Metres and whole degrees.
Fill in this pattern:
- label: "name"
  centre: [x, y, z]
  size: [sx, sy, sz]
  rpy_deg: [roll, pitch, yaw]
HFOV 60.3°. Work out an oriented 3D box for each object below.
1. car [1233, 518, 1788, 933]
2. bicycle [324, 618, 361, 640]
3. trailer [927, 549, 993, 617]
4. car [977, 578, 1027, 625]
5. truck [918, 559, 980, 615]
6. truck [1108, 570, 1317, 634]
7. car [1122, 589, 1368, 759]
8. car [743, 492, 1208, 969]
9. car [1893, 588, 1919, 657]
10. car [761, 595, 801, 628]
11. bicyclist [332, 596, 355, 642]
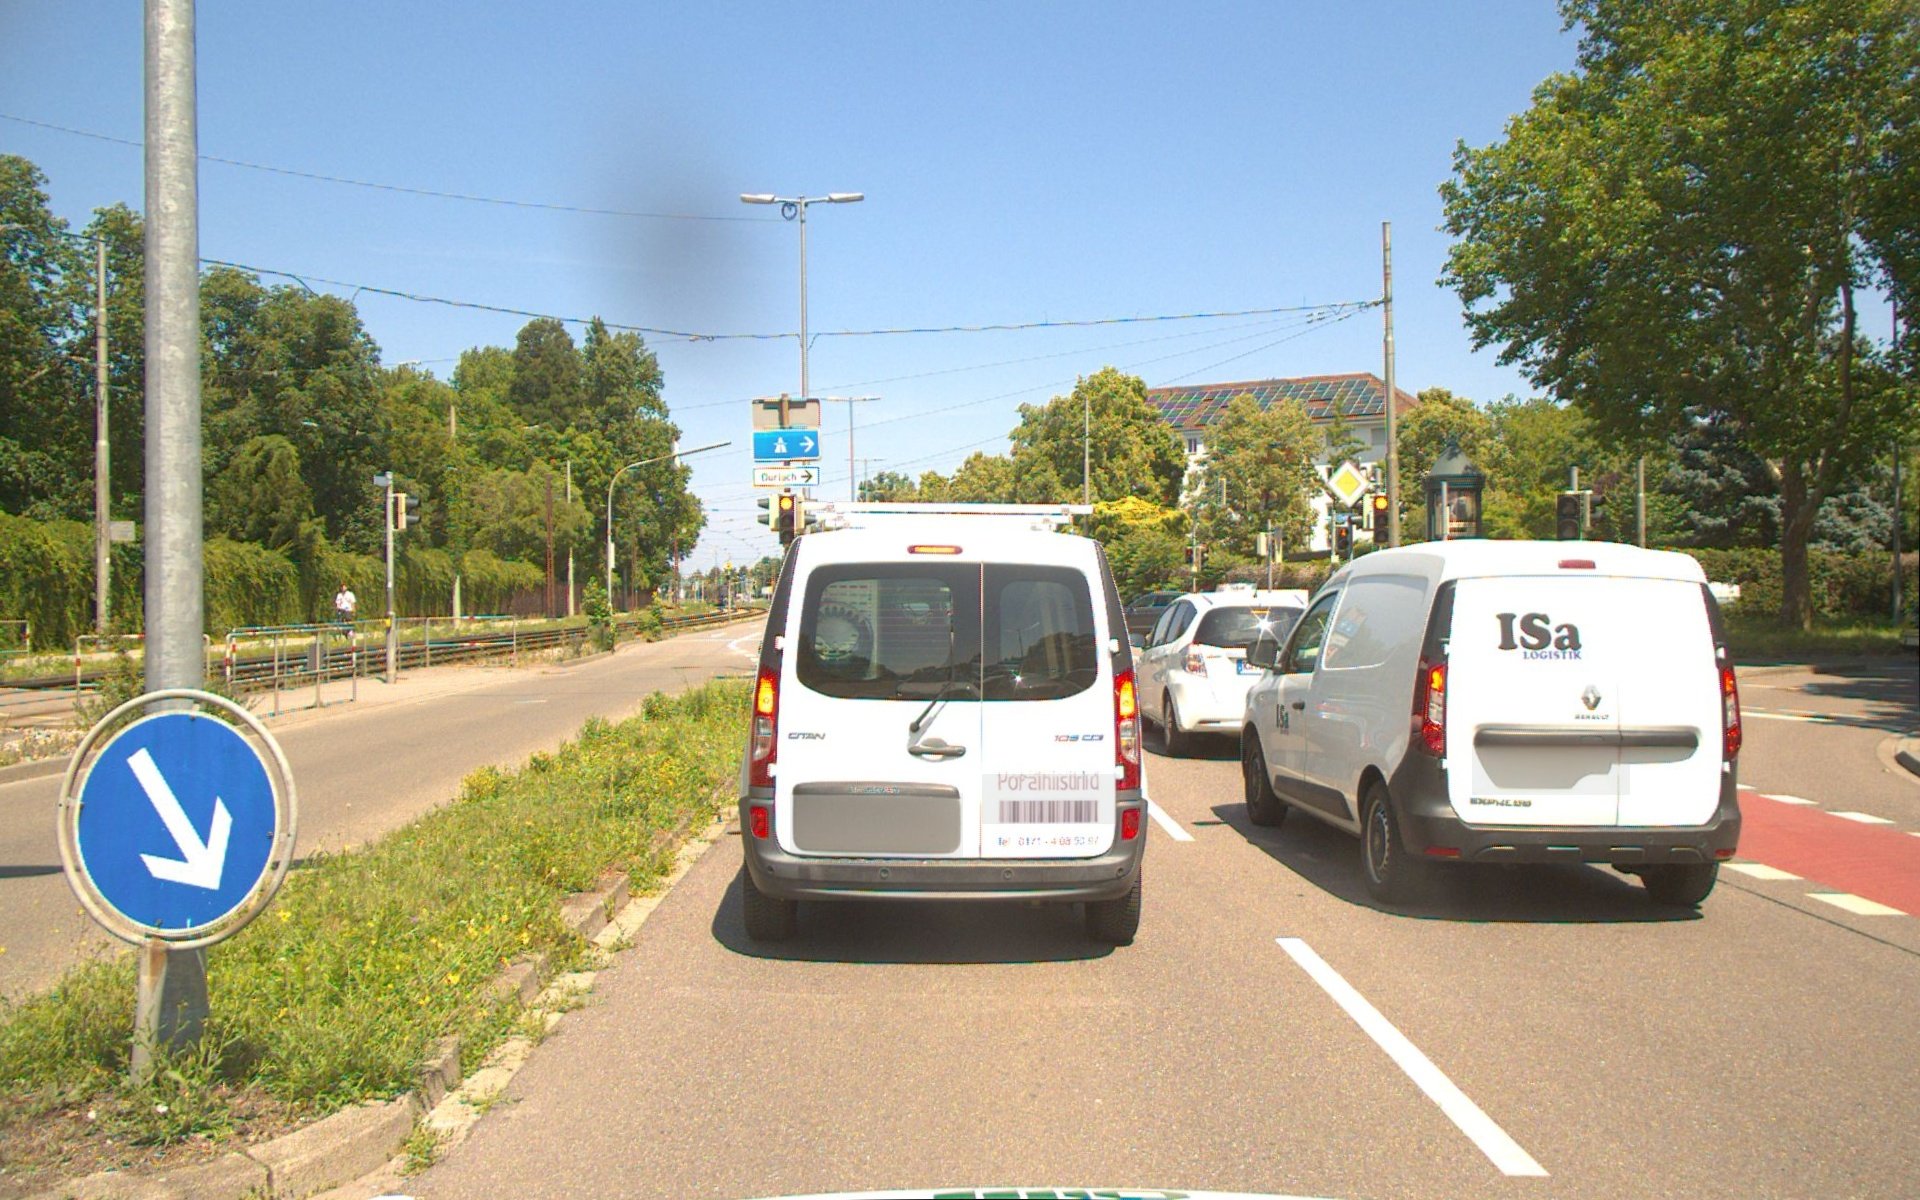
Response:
- label: "car"
  centre: [2.830, 0.552, 9.482]
  size: [1.676, 1.862, 4.011]
  rpy_deg: [0, 0, -3]
- label: "bicycle"
  centre: [-20.207, 0.942, 54.162]
  size: [0.549, 0.659, 1.720]
  rpy_deg: [0, 0, 0]
- label: "trailer"
  centre: [-0.078, -1.043, 105.238]
  size: [3.459, 4.121, 8.968]
  rpy_deg: [0, 0, -5]
- label: "car"
  centre: [1.743, 0.053, 69.665]
  size: [1.953, 1.948, 3.999]
  rpy_deg: [0, 0, -1]
- label: "truck"
  centre: [-0.820, -0.890, 114.066]
  size: [3.507, 3.696, 8.798]
  rpy_deg: [0, 0, -5]
- label: "truck"
  centre: [8.460, 0.060, 55.510]
  size: [6.573, 2.049, 2.305]
  rpy_deg: [0, 0, 26]
- label: "car"
  centre: [2.772, 0.664, 16.930]
  size: [1.720, 1.512, 3.999]
  rpy_deg: [1, 0, -2]
- label: "car"
  centre: [-0.001, 0.507, 8.441]
  size: [1.829, 1.868, 3.847]
  rpy_deg: [0, 0, -2]
- label: "car"
  centre: [21.418, 0.449, 33.704]
  size: [3.904, 1.403, 1.545]
  rpy_deg: [0, 0, 8]
- label: "car"
  centre: [-8.002, 0.521, 74.074]
  size: [1.659, 1.334, 3.879]
  rpy_deg: [-4, 0, -6]
- label: "bicyclist"
  centre: [-20.206, 0.626, 54.221]
  size: [0.546, 1.504, 0.561]
  rpy_deg: [0, 0, -1]
